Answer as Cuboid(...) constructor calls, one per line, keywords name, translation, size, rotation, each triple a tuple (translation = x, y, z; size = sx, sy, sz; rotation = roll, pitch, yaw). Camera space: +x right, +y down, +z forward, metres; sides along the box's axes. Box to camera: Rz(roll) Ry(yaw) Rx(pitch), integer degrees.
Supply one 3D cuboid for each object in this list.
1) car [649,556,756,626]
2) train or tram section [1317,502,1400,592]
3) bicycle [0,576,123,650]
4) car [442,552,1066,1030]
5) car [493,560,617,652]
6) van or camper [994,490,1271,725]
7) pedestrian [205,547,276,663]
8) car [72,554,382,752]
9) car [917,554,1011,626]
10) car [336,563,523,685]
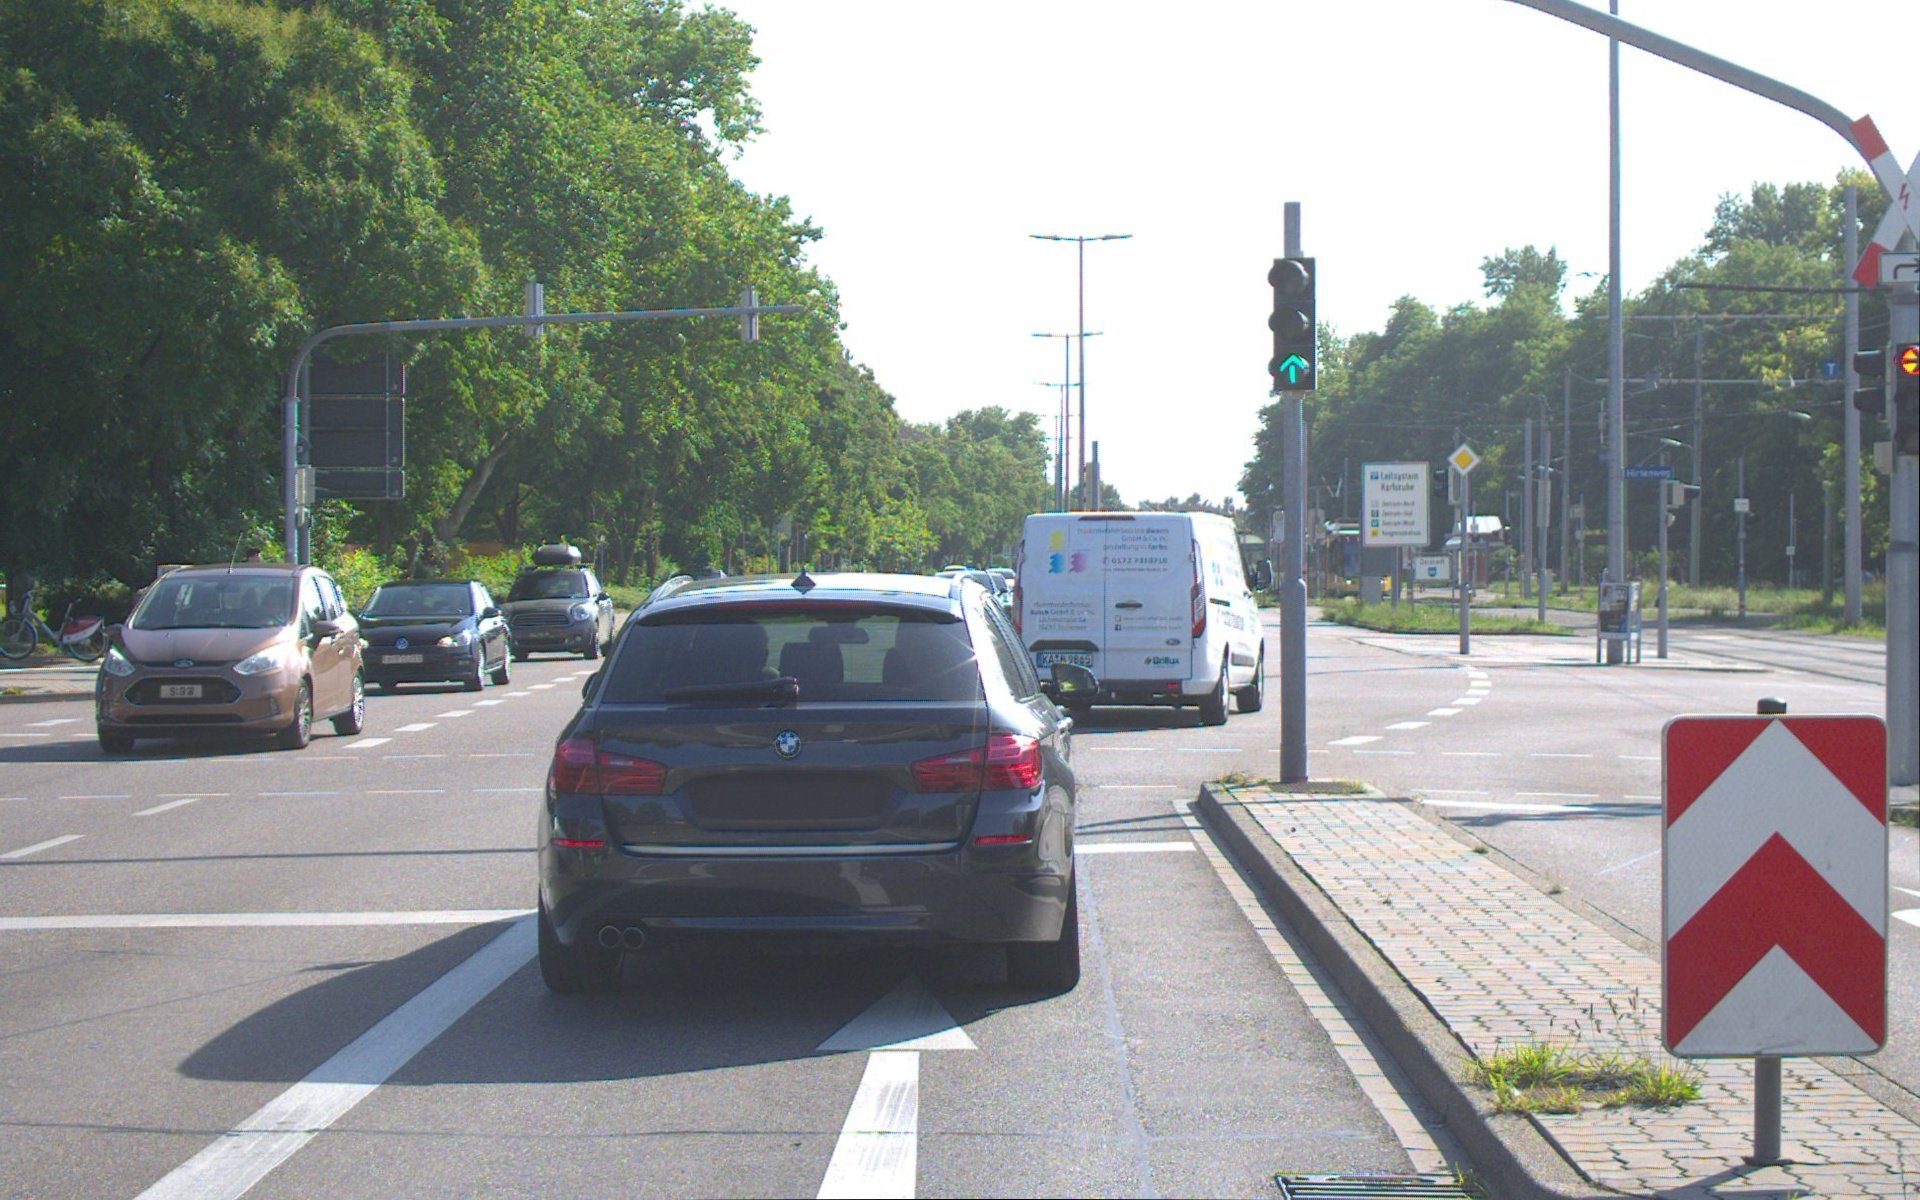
Cuboid(name="car", translation=(-6.221, -0.229, 83.485), size=(1.989, 1.653, 4.384), rotation=(0, 1, 4))
Cuboid(name="train or tram section", translation=(16.843, -2.156, 145.854), size=(2.796, 3.606, 12.954), rotation=(1, 0, 4))
Cuboid(name="bicycle", translation=(-13.822, 0.199, 52.507), size=(1.909, 1.115, 0.632), rotation=(0, 1, 0))
Cuboid(name="car", translation=(-0.591, 0.575, 12.870), size=(1.903, 1.500, 4.065), rotation=(0, 1, 3))
Cuboid(name="car", translation=(-7.016, 0.082, 59.854), size=(1.788, 1.515, 4.000), rotation=(-1, 1, -2))
Cuboid(name="van or camper", translation=(1.742, 0.035, 33.000), size=(1.994, 2.089, 4.596), rotation=(0, 1, 11))
Cuboid(name="pedestrian", translation=(-10.977, 0.071, 52.446), size=(0.816, 1.746, 0.931), rotation=(0, 1, 5))
Cuboid(name="car", translation=(-6.269, 0.404, 29.815), size=(1.745, 1.556, 4.000), rotation=(-2, 1, 1))
Cuboid(name="car", translation=(0.114, -0.240, 72.448), size=(1.829, 1.426, 4.731), rotation=(-1, 1, 2))
Cuboid(name="car", translation=(-6.790, 0.276, 44.336), size=(1.888, 1.469, 4.100), rotation=(-1, 1, -2))
